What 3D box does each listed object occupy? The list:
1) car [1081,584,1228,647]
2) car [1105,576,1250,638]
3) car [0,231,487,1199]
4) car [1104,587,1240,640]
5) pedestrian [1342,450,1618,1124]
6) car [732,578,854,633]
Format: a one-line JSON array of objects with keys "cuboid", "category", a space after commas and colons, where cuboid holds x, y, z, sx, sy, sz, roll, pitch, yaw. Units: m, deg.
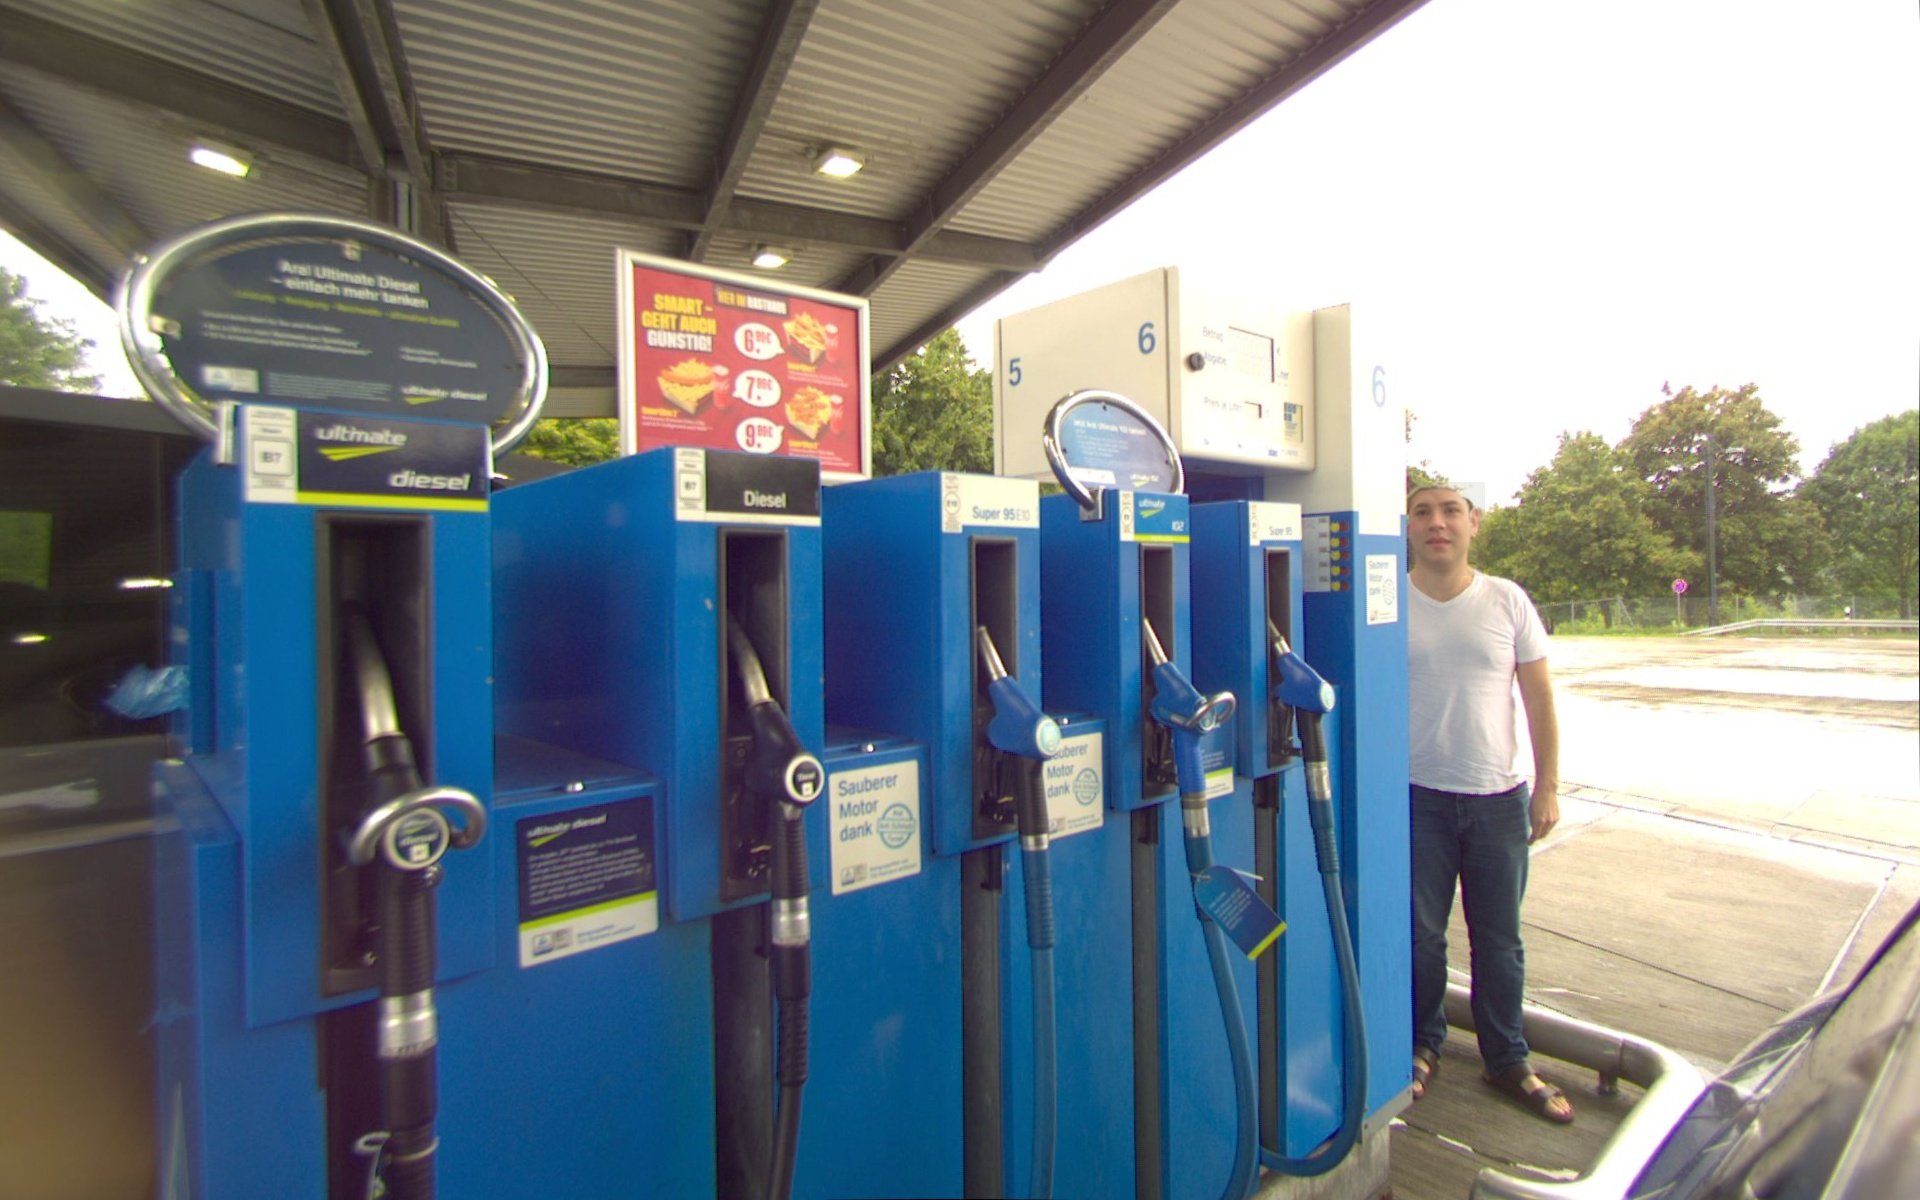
[{"cuboid": [5.793, 0.420, 30.002, 4.123, 1.752, 1.990, 0, 0, 17], "category": "car"}, {"cuboid": [7.411, 0.213, 34.618, 4.700, 2.011, 2.007, 0, 0, 14], "category": "car"}, {"cuboid": [-3.040, 0.396, 1.468, 3.930, 1.973, 1.819, 0, 0, -41], "category": "car"}, {"cuboid": [6.792, 0.399, 32.315, 4.123, 1.576, 1.990, 1, 0, 17], "category": "car"}, {"cuboid": [1.533, 0.508, 3.066, 0.625, 1.832, 0.492, -1, 1, 15], "category": "pedestrian"}, {"cuboid": [-5.569, 0.150, 33.455, 1.967, 1.683, 4.170, 0, 0, -44], "category": "car"}]
